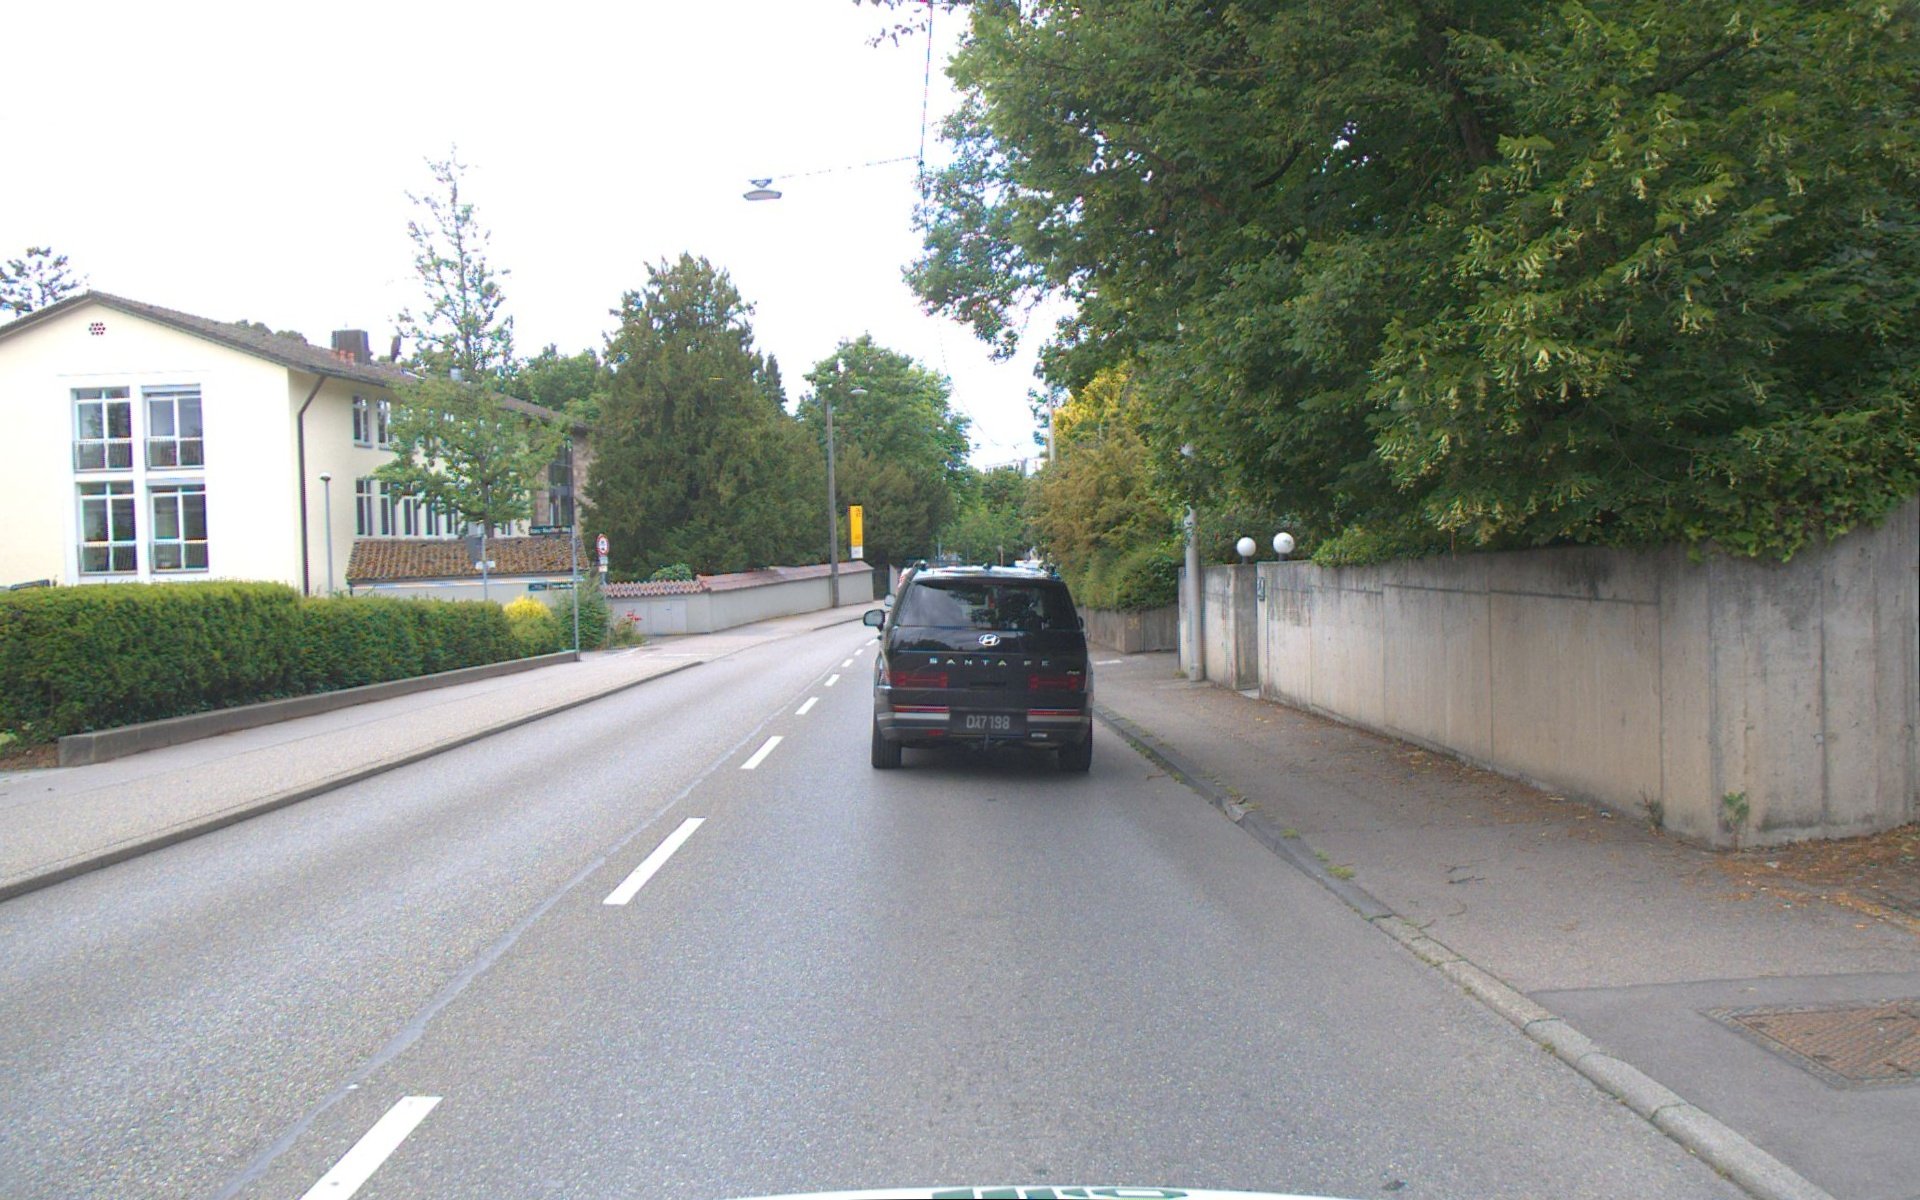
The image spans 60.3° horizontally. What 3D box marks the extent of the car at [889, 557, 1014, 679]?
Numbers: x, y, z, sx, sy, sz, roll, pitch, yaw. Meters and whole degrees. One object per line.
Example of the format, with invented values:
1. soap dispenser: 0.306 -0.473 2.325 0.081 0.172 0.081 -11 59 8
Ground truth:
1. car: -0.076 0.247 30.148 1.916 1.989 4.226 1 2 4

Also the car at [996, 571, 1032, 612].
1. car: 2.639 -0.433 80.420 1.641 1.446 3.943 -2 7 3

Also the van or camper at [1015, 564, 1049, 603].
1. van or camper: 4.117 -0.954 94.106 1.640 2.042 3.941 -2 2 7

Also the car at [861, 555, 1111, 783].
1. car: 0.163 0.518 15.023 1.917 1.743 4.222 1 1 -1
